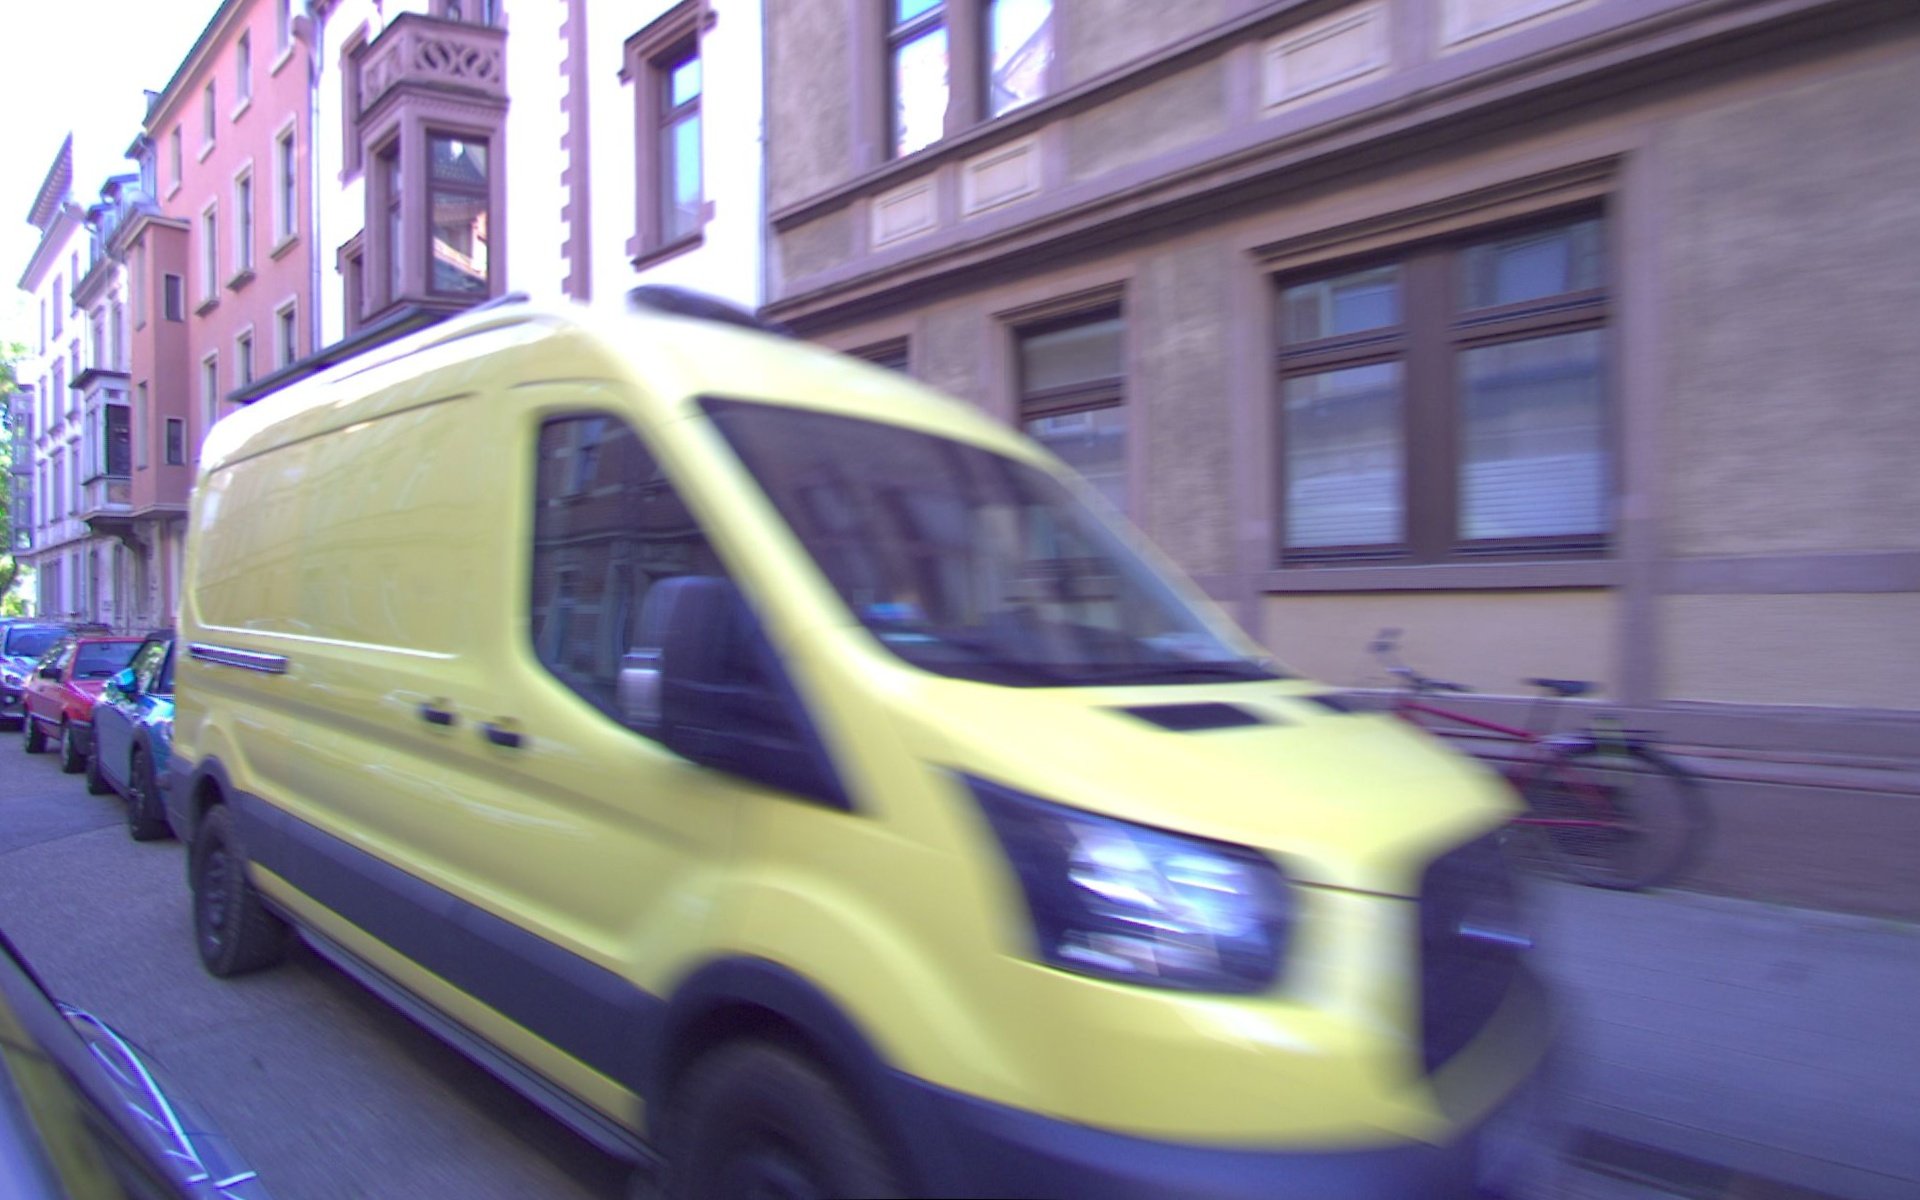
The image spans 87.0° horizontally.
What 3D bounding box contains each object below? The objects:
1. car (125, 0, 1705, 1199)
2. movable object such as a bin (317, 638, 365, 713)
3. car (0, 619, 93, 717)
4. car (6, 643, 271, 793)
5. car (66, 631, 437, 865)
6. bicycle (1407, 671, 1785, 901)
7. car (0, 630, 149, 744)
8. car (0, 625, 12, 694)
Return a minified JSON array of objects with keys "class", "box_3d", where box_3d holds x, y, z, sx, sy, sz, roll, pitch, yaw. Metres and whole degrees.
[{"class":"car","box_3d":[-1.015,0.235,3.717,5.875,2.527,2.152,-1,-3,41]},{"class":"movable object such as a bin","box_3d":[-9.181,1.107,15.005,0.543,1.034,0.560,-2,1,-34]},{"class":"car","box_3d":[-17.367,1.186,18.422,4.066,1.618,1.763,-1,-1,40]},{"class":"car","box_3d":[-9.127,1.181,11.159,3.610,1.337,1.601,-1,-4,41]},{"class":"car","box_3d":[-5.900,1.021,8.244,3.899,1.423,1.699,-1,-6,44]},{"class":"bicycle","box_3d":[2.779,0.791,4.543,1.348,0.909,0.421,-1,-1,17]},{"class":"car","box_3d":[-13.538,1.201,15.008,3.917,1.486,1.676,-2,-4,41]},{"class":"car","box_3d":[-24.628,1.440,24.767,4.188,1.630,1.742,-1,-1,42]}]
